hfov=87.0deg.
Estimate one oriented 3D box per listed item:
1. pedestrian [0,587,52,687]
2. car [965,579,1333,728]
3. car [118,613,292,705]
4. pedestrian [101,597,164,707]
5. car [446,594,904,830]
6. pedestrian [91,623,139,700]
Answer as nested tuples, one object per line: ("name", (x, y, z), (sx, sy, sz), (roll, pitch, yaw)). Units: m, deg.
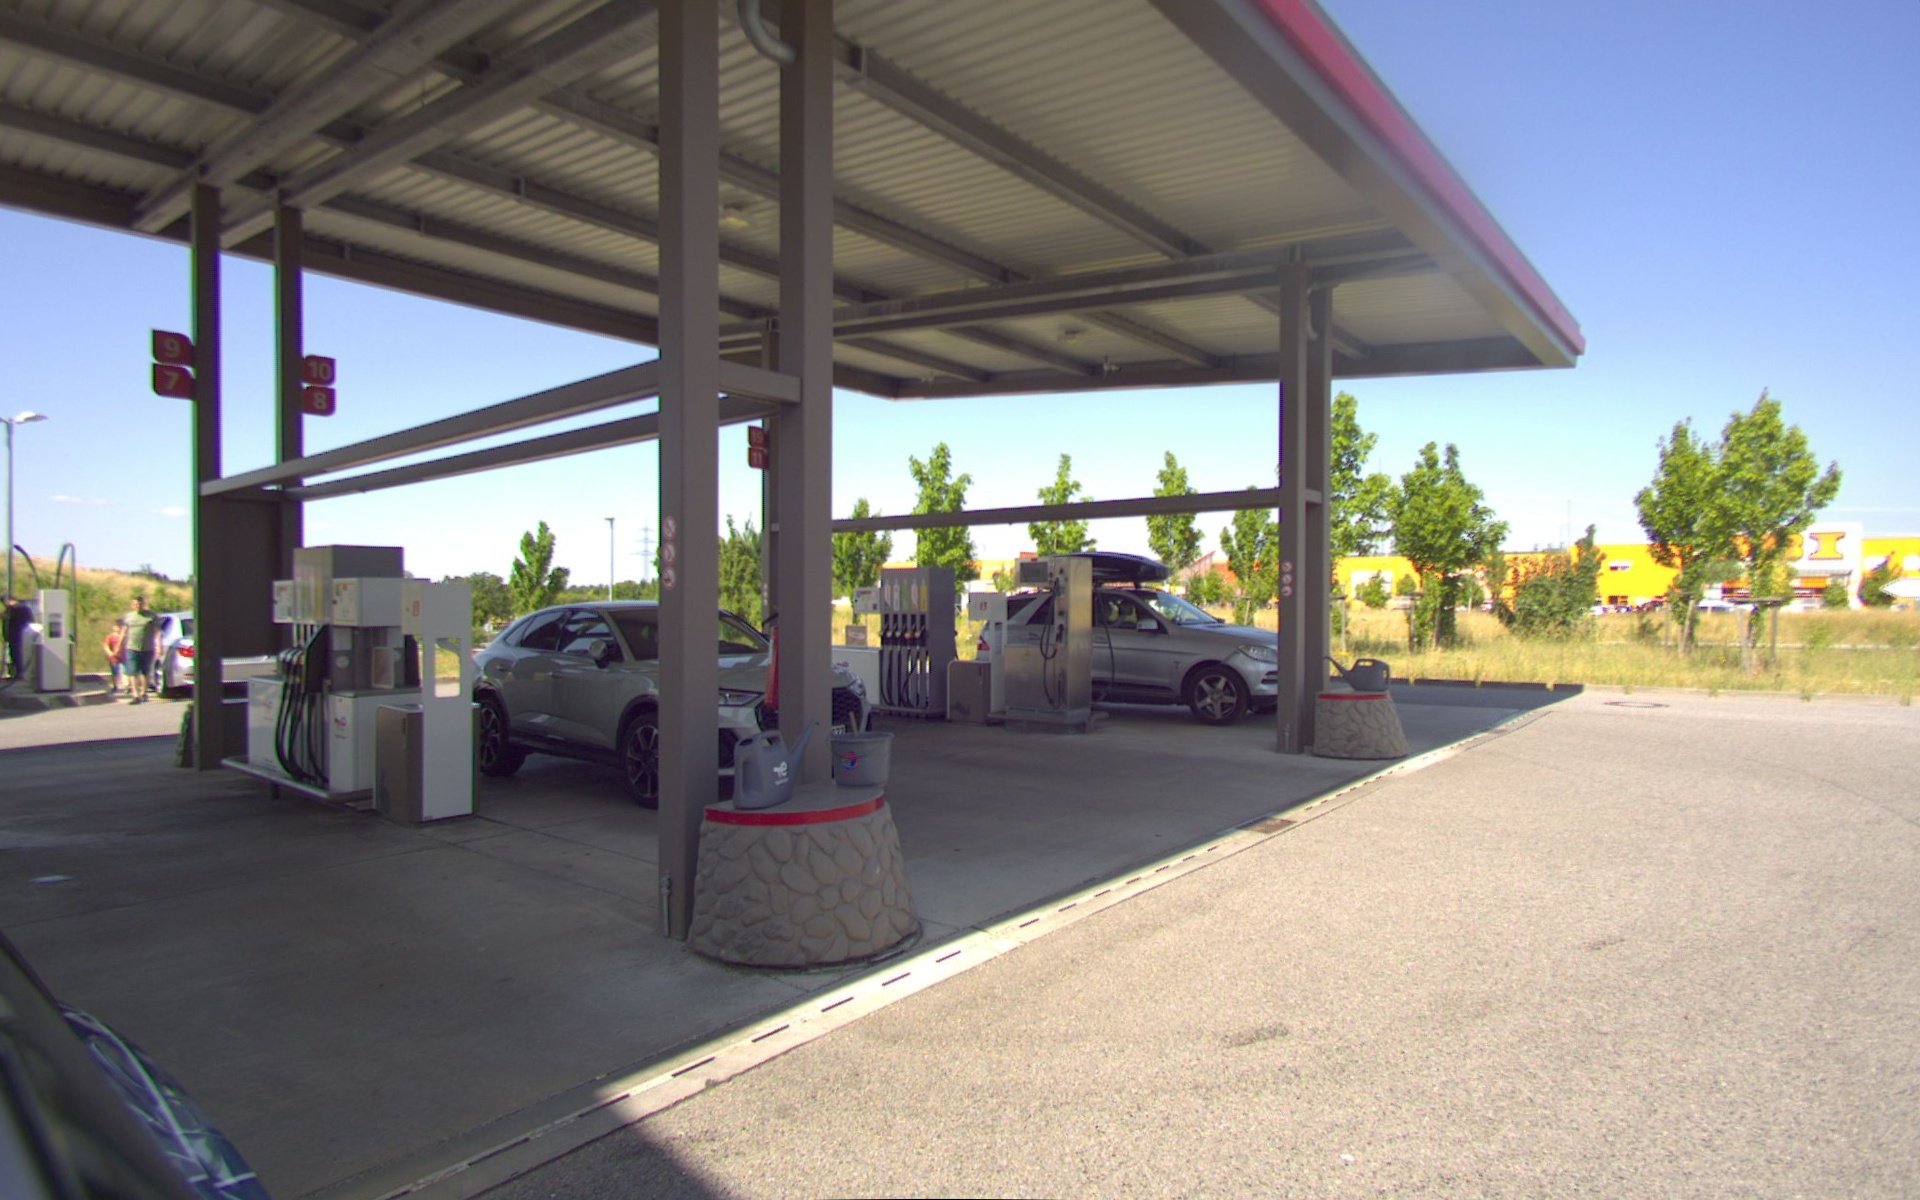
("pedestrian", (-17.378, 0.674, 18.552), (0.832, 1.783, 0.710), (-1, -1, -3))
("car", (2.433, 0.651, 13.638), (4.528, 1.700, 1.842), (-1, -1, 37))
("car", (-14.047, 1.001, 18.736), (4.321, 1.439, 1.768), (0, 0, 42))
("pedestrian", (-13.679, 0.833, 16.728), (0.845, 1.762, 0.699), (-1, -1, 43))
("car", (-2.647, 0.771, 8.777), (4.323, 1.553, 1.762), (-1, -1, 41))
("pedestrian", (-14.900, 1.072, 17.852), (0.669, 1.316, 0.570), (-1, -1, 43))
